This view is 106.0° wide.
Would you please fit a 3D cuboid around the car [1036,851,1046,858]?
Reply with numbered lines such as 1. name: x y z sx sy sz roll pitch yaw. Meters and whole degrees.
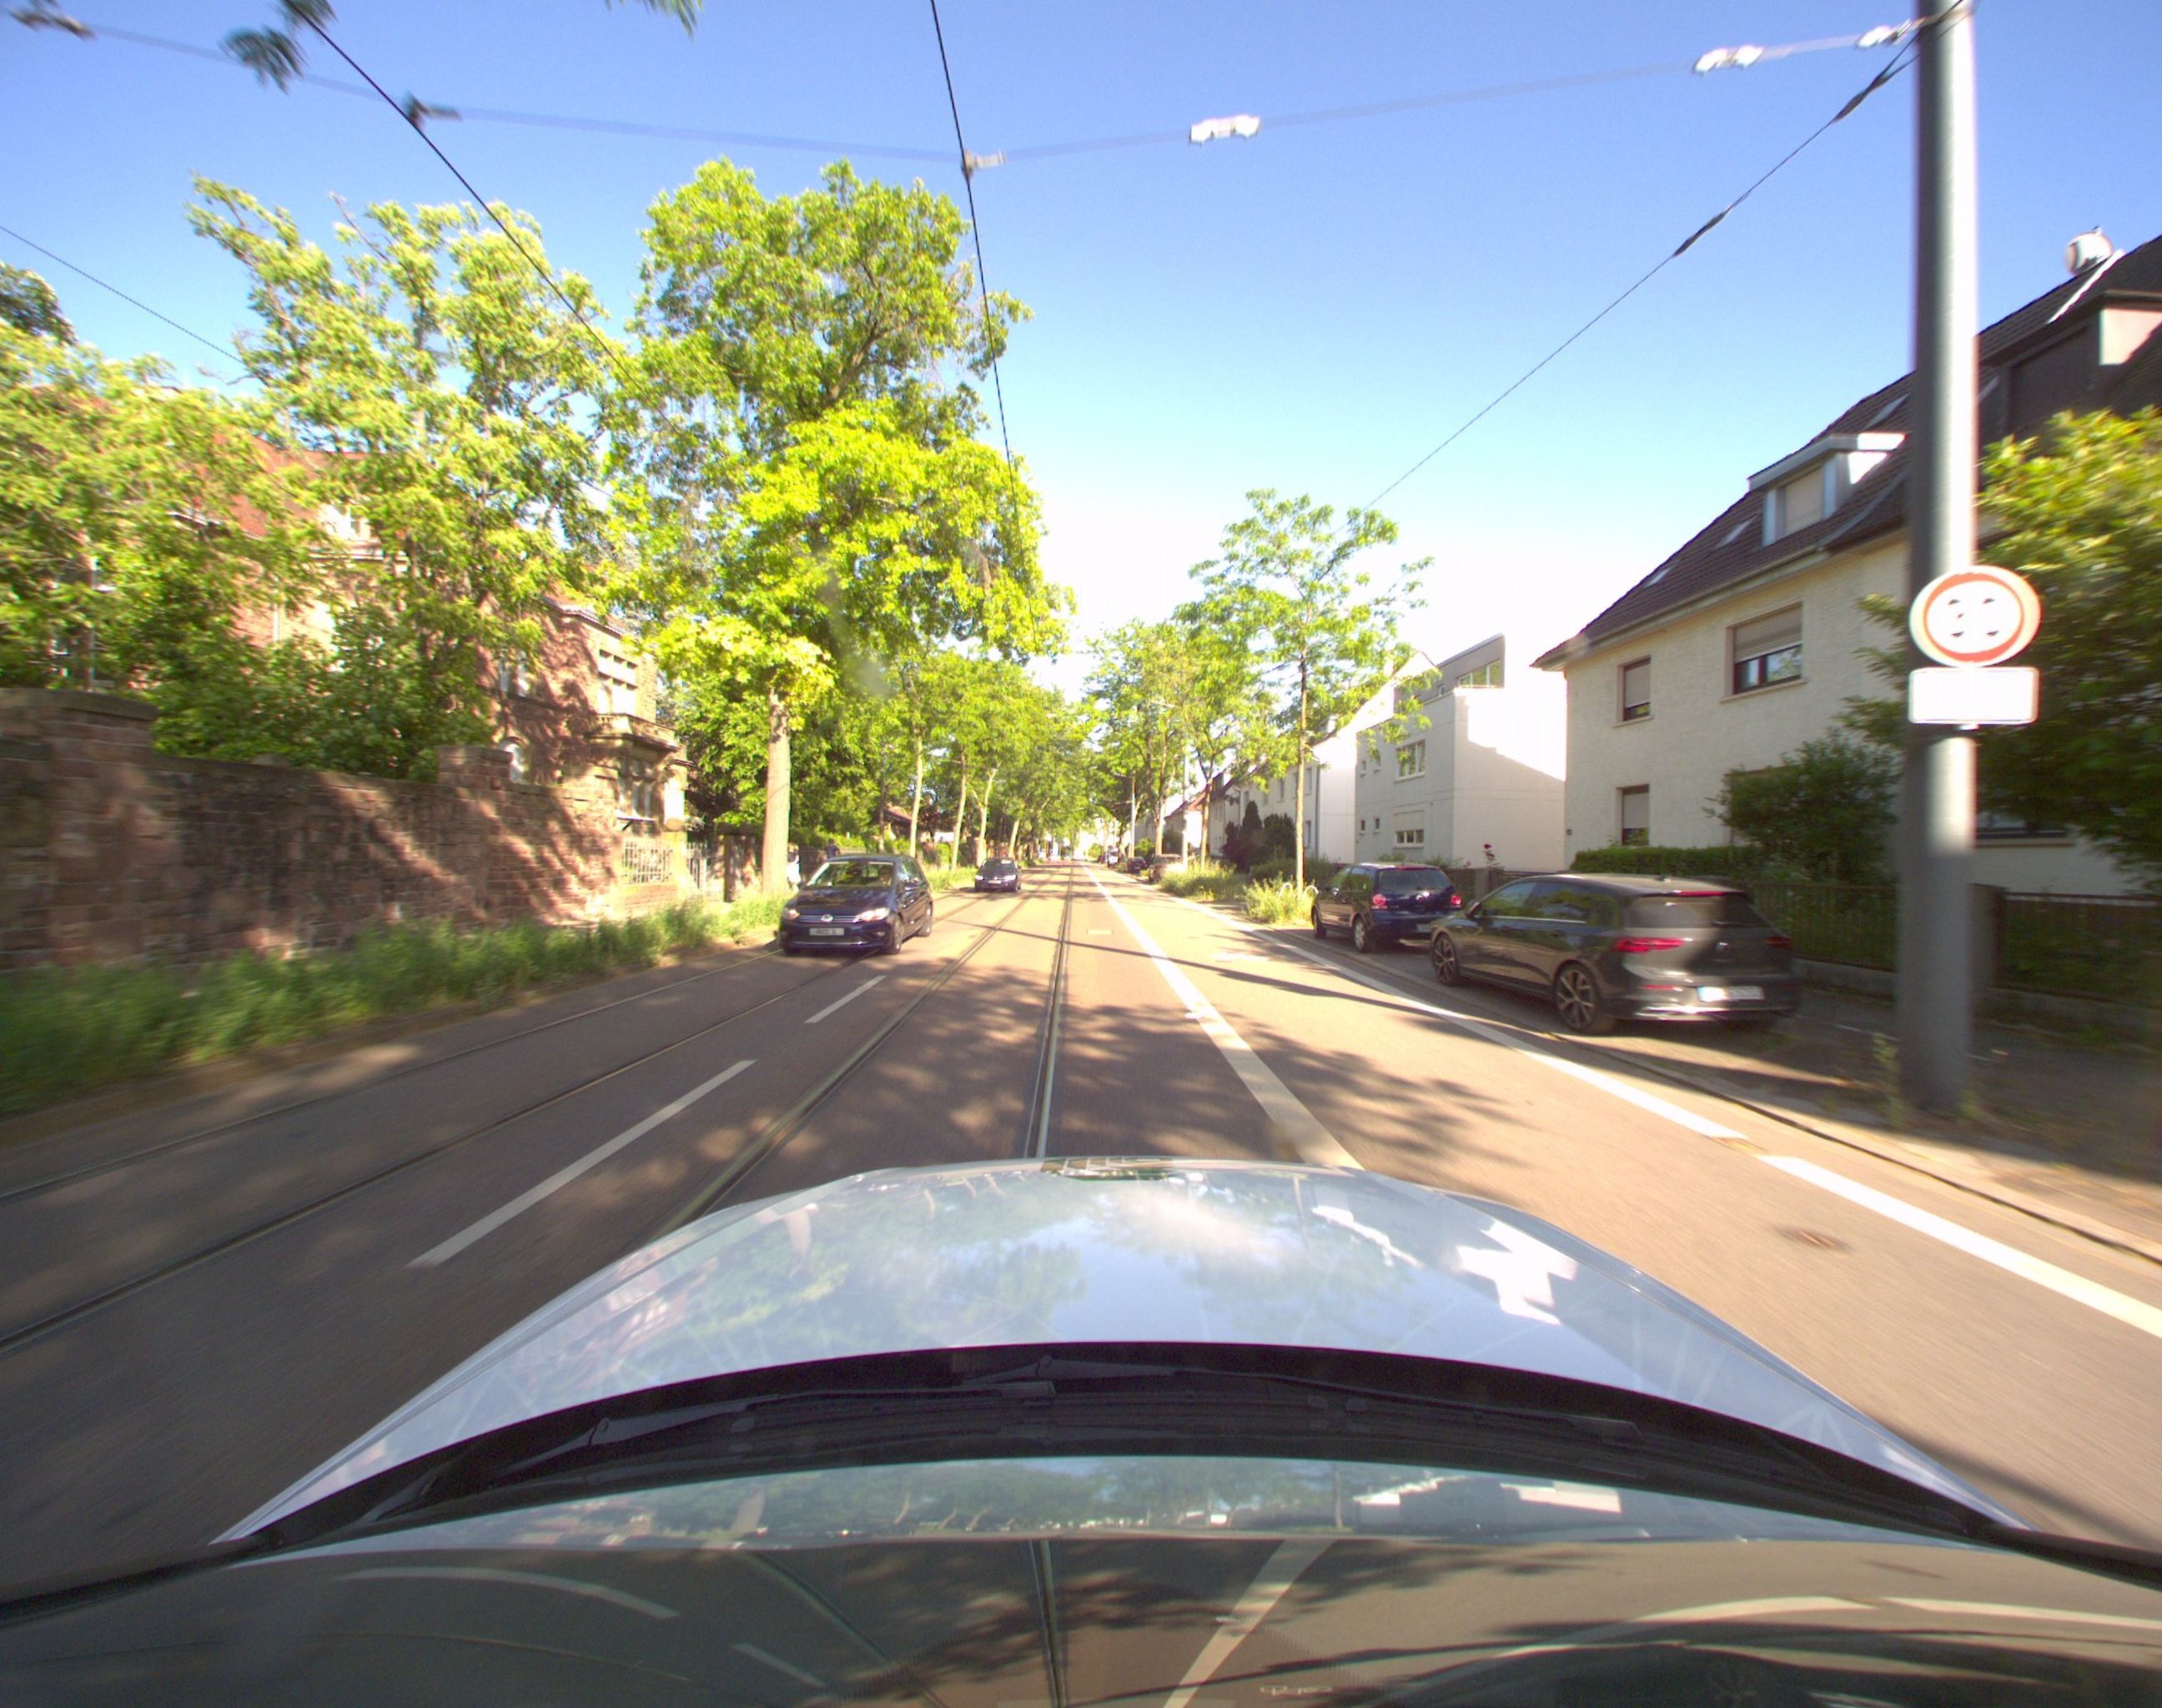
1. car: -12.571 0.155 257.844 2.008 1.910 4.365 -1 0 -18

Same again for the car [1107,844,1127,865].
1. car: 4.582 0.037 104.663 2.239 2.654 5.583 -1 0 -1

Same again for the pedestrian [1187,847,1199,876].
1. pedestrian: 7.284 0.505 53.138 0.624 1.870 0.731 -2 0 -2

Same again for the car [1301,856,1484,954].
1. car: 5.368 0.792 14.613 1.743 1.495 3.995 0 0 -1

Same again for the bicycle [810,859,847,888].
1. bicycle: -8.832 0.681 28.592 0.587 0.960 2.132 1 0 1

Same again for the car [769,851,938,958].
1. car: -3.670 0.744 13.881 1.743 1.524 4.034 1 0 -1

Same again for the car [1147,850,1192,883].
1. car: 5.050 0.681 47.028 1.988 1.704 4.475 -2 0 -1

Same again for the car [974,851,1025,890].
1. car: -3.366 0.670 34.333 1.743 1.524 4.068 1 0 -1

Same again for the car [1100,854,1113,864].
1. car: 4.213 0.787 136.739 1.997 1.675 4.390 -1 0 -1

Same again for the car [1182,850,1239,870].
1. car: 10.608 0.490 67.033 4.404 1.489 1.859 -2 0 2

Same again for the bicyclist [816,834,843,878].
1. bicyclist: -8.826 0.067 28.600 0.591 1.527 1.061 1 0 0

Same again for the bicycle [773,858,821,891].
1. bicycle: -8.722 0.606 25.078 0.709 0.960 2.094 1 0 0

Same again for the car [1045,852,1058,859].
1. car: -6.882 0.431 190.400 1.871 1.675 4.147 0 0 -18

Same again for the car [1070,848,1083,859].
1. car: -1.125 -0.115 190.085 1.996 2.458 4.488 0 0 -13

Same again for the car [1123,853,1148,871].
1. car: 4.881 0.700 73.582 1.779 1.448 4.297 -2 0 -2

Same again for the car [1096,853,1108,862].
1. car: 4.017 0.652 154.344 1.994 1.675 4.396 -1 0 3

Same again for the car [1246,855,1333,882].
1. car: 10.797 0.758 42.402 4.039 1.342 1.877 0 0 -1

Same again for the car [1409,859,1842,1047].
1. car: 5.352 0.822 8.879 1.743 1.495 4.442 0 0 -1

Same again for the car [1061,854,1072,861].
1. car: -3.657 0.893 207.865 2.005 1.560 4.373 0 0 -13

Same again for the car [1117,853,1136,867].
1. car: 4.624 0.601 83.228 1.622 1.397 3.644 -2 0 -1
